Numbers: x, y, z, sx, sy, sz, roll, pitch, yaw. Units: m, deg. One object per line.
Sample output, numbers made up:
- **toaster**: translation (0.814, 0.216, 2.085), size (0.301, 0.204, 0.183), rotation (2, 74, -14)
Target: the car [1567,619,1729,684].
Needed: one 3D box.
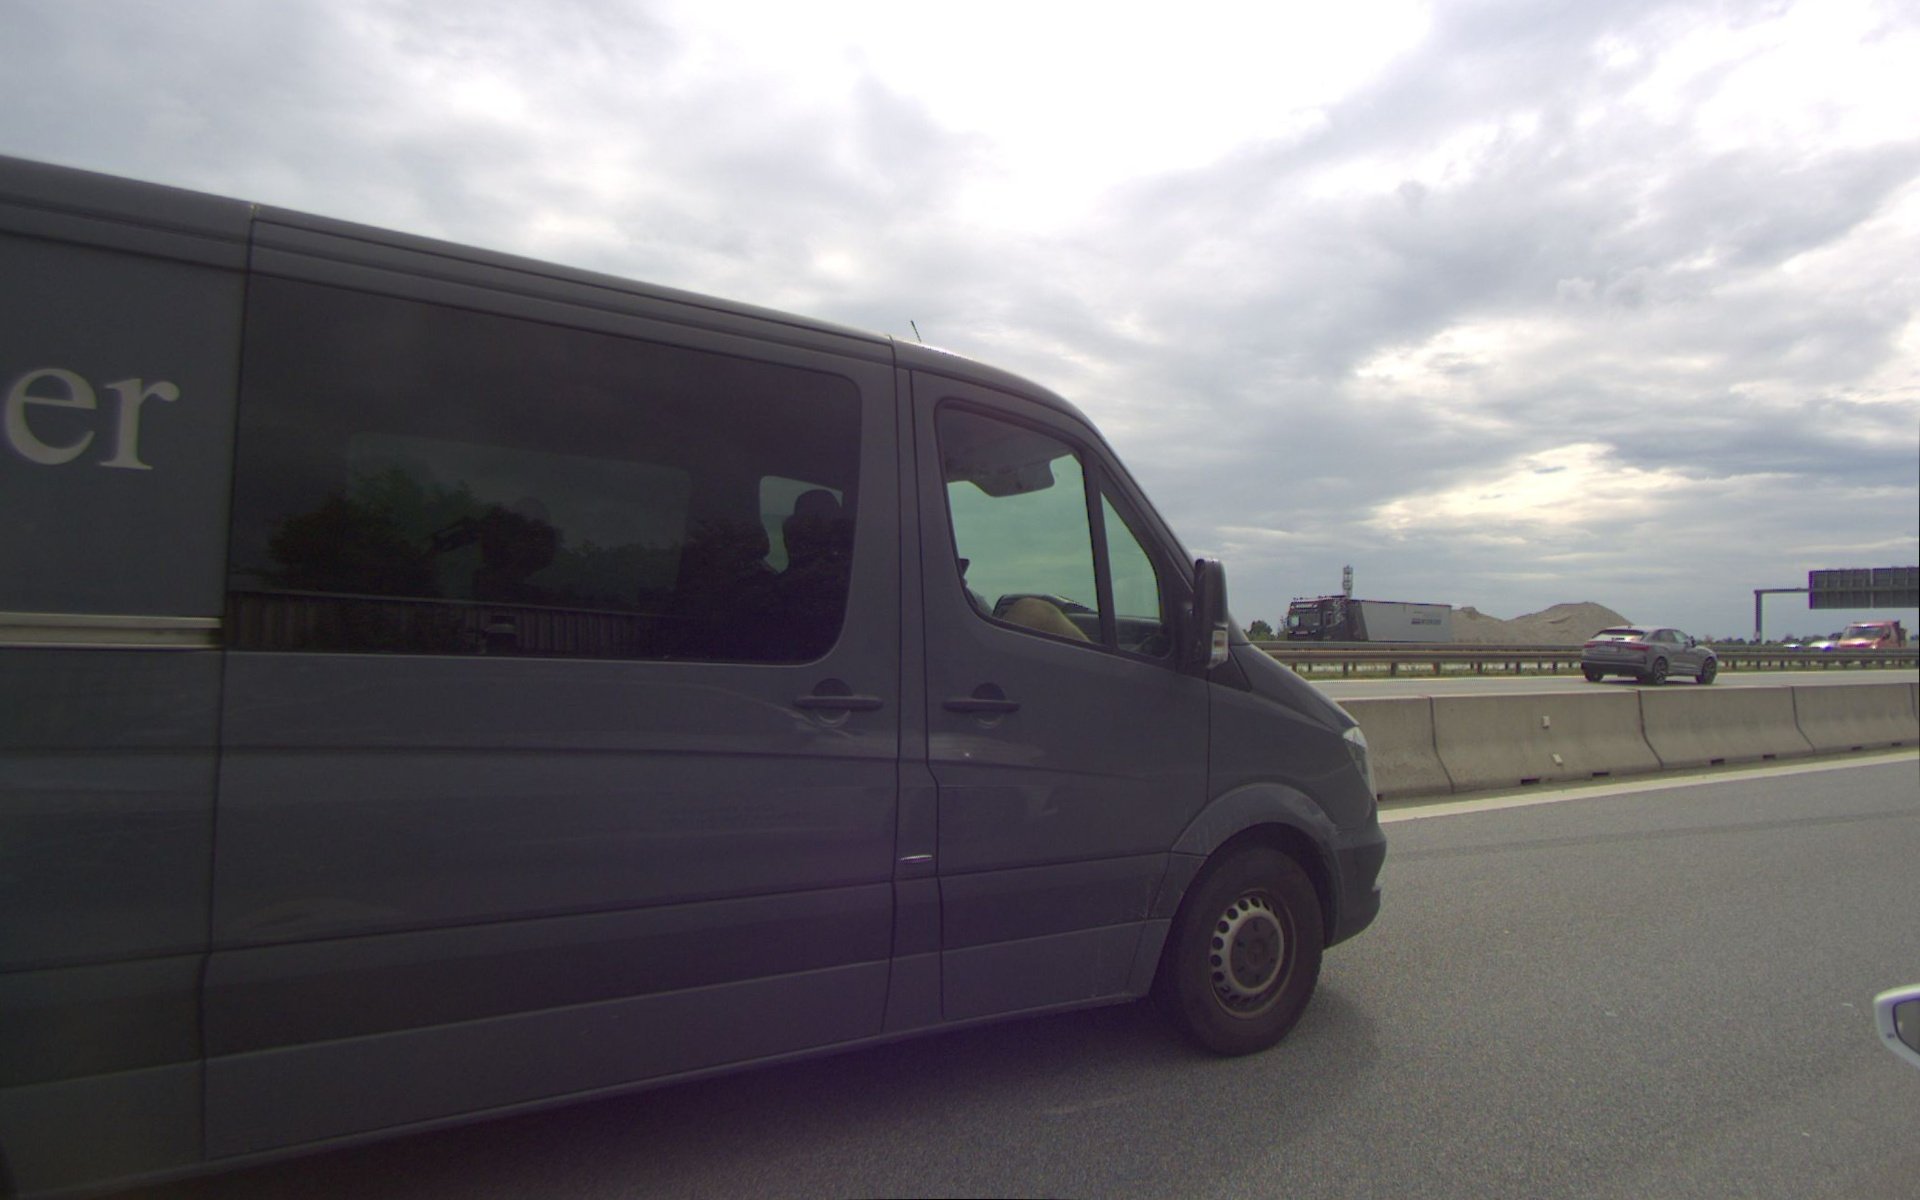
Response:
- **car**: translation (19.140, 1.410, 27.920), size (4.589, 1.662, 1.892), rotation (2, -1, -30)

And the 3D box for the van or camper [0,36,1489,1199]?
- **van or camper**: translation (-1.084, 0.263, 3.222), size (6.053, 2.402, 1.990), rotation (2, -1, -30)

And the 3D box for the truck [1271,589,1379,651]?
- **truck**: translation (21.180, 1.169, 58.199), size (5.561, 3.374, 3.132), rotation (2, -1, -33)

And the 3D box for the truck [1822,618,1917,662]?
- **truck**: translation (52.014, 2.273, 57.415), size (6.128, 2.401, 2.266), rotation (2, -1, -30)

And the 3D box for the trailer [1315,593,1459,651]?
- **trailer**: translation (26.230, 1.375, 61.471), size (9.718, 3.313, 3.179), rotation (2, -1, -33)
